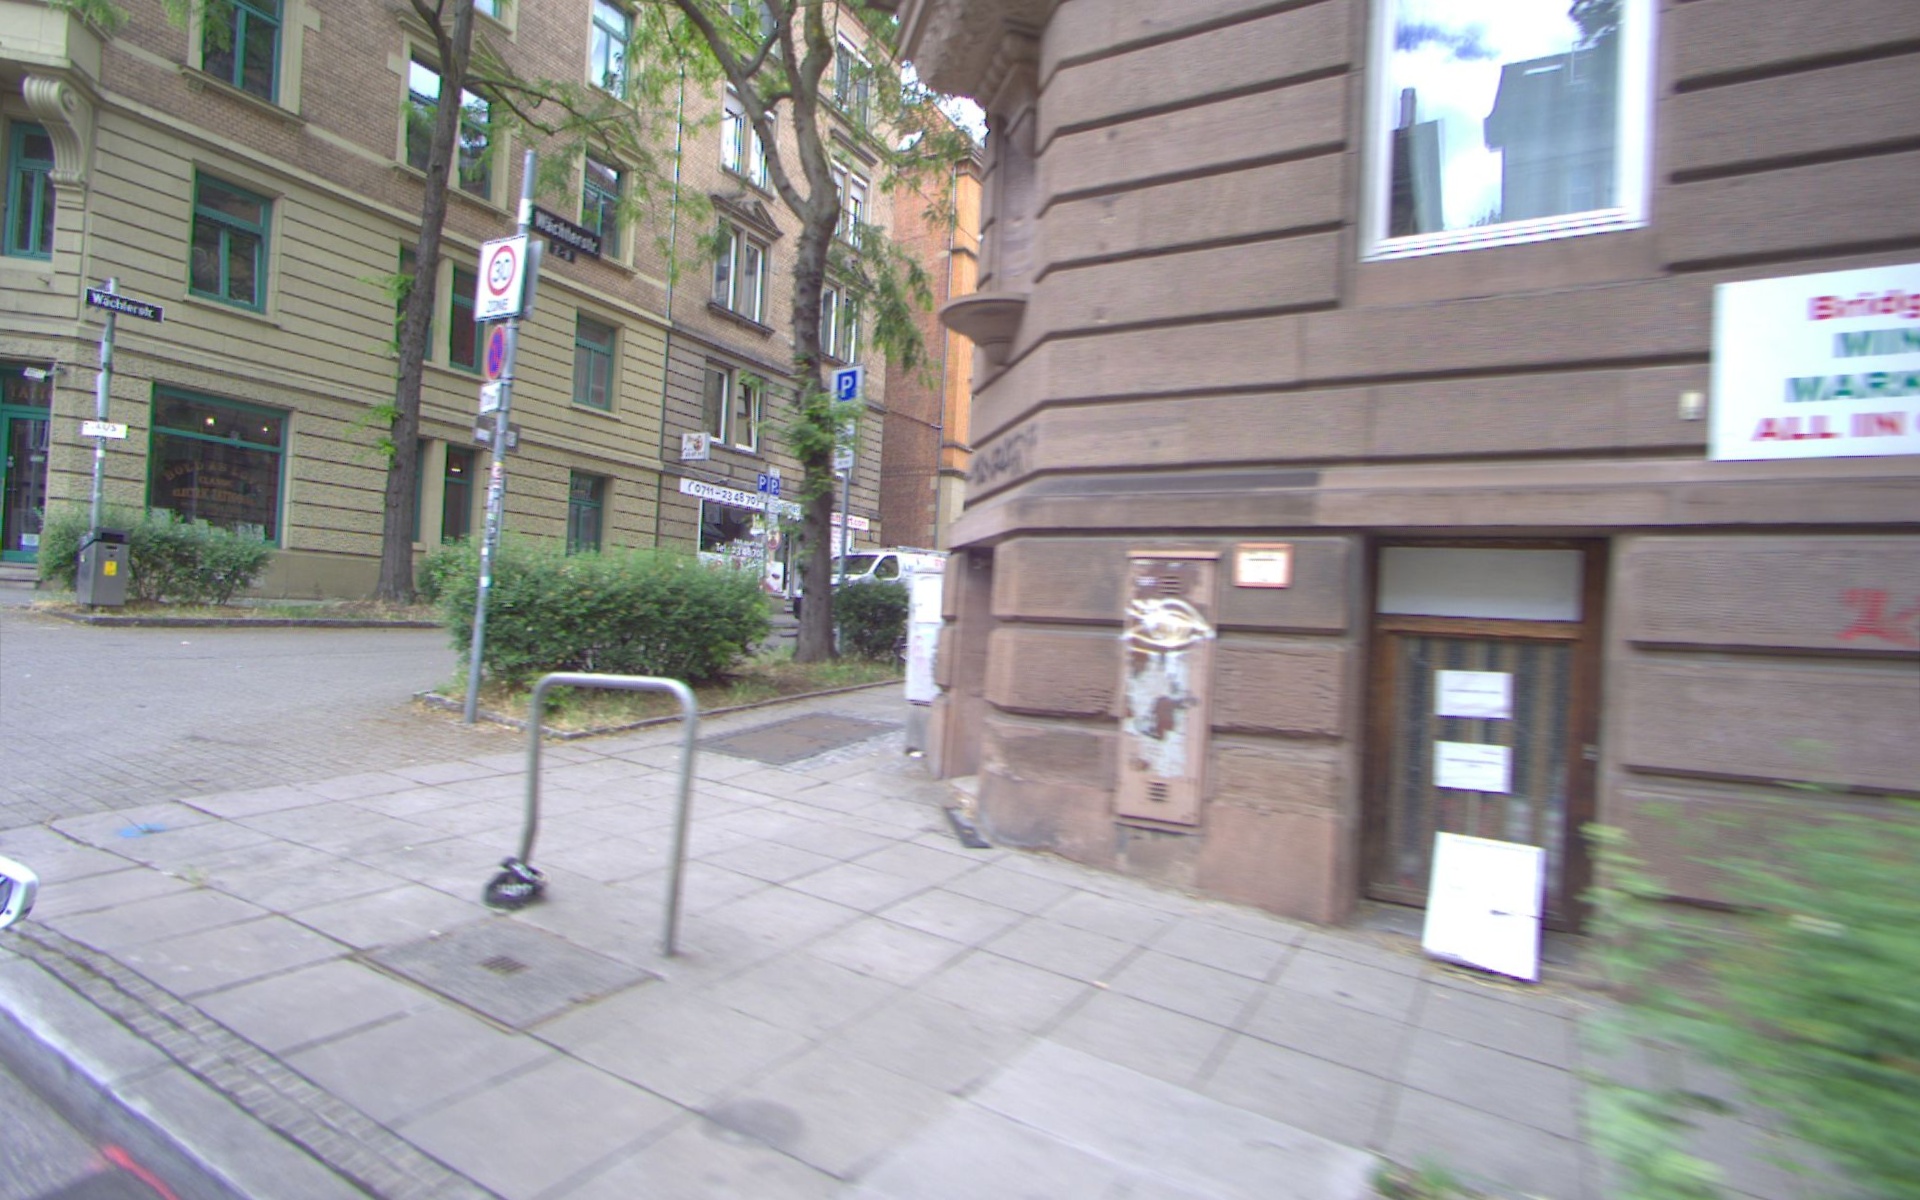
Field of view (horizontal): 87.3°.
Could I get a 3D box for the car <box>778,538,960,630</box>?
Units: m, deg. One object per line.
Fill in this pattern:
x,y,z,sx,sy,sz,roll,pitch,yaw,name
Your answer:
-2.119,-0.291,25.301,1.950,2.038,5.250,0,-1,29,car
